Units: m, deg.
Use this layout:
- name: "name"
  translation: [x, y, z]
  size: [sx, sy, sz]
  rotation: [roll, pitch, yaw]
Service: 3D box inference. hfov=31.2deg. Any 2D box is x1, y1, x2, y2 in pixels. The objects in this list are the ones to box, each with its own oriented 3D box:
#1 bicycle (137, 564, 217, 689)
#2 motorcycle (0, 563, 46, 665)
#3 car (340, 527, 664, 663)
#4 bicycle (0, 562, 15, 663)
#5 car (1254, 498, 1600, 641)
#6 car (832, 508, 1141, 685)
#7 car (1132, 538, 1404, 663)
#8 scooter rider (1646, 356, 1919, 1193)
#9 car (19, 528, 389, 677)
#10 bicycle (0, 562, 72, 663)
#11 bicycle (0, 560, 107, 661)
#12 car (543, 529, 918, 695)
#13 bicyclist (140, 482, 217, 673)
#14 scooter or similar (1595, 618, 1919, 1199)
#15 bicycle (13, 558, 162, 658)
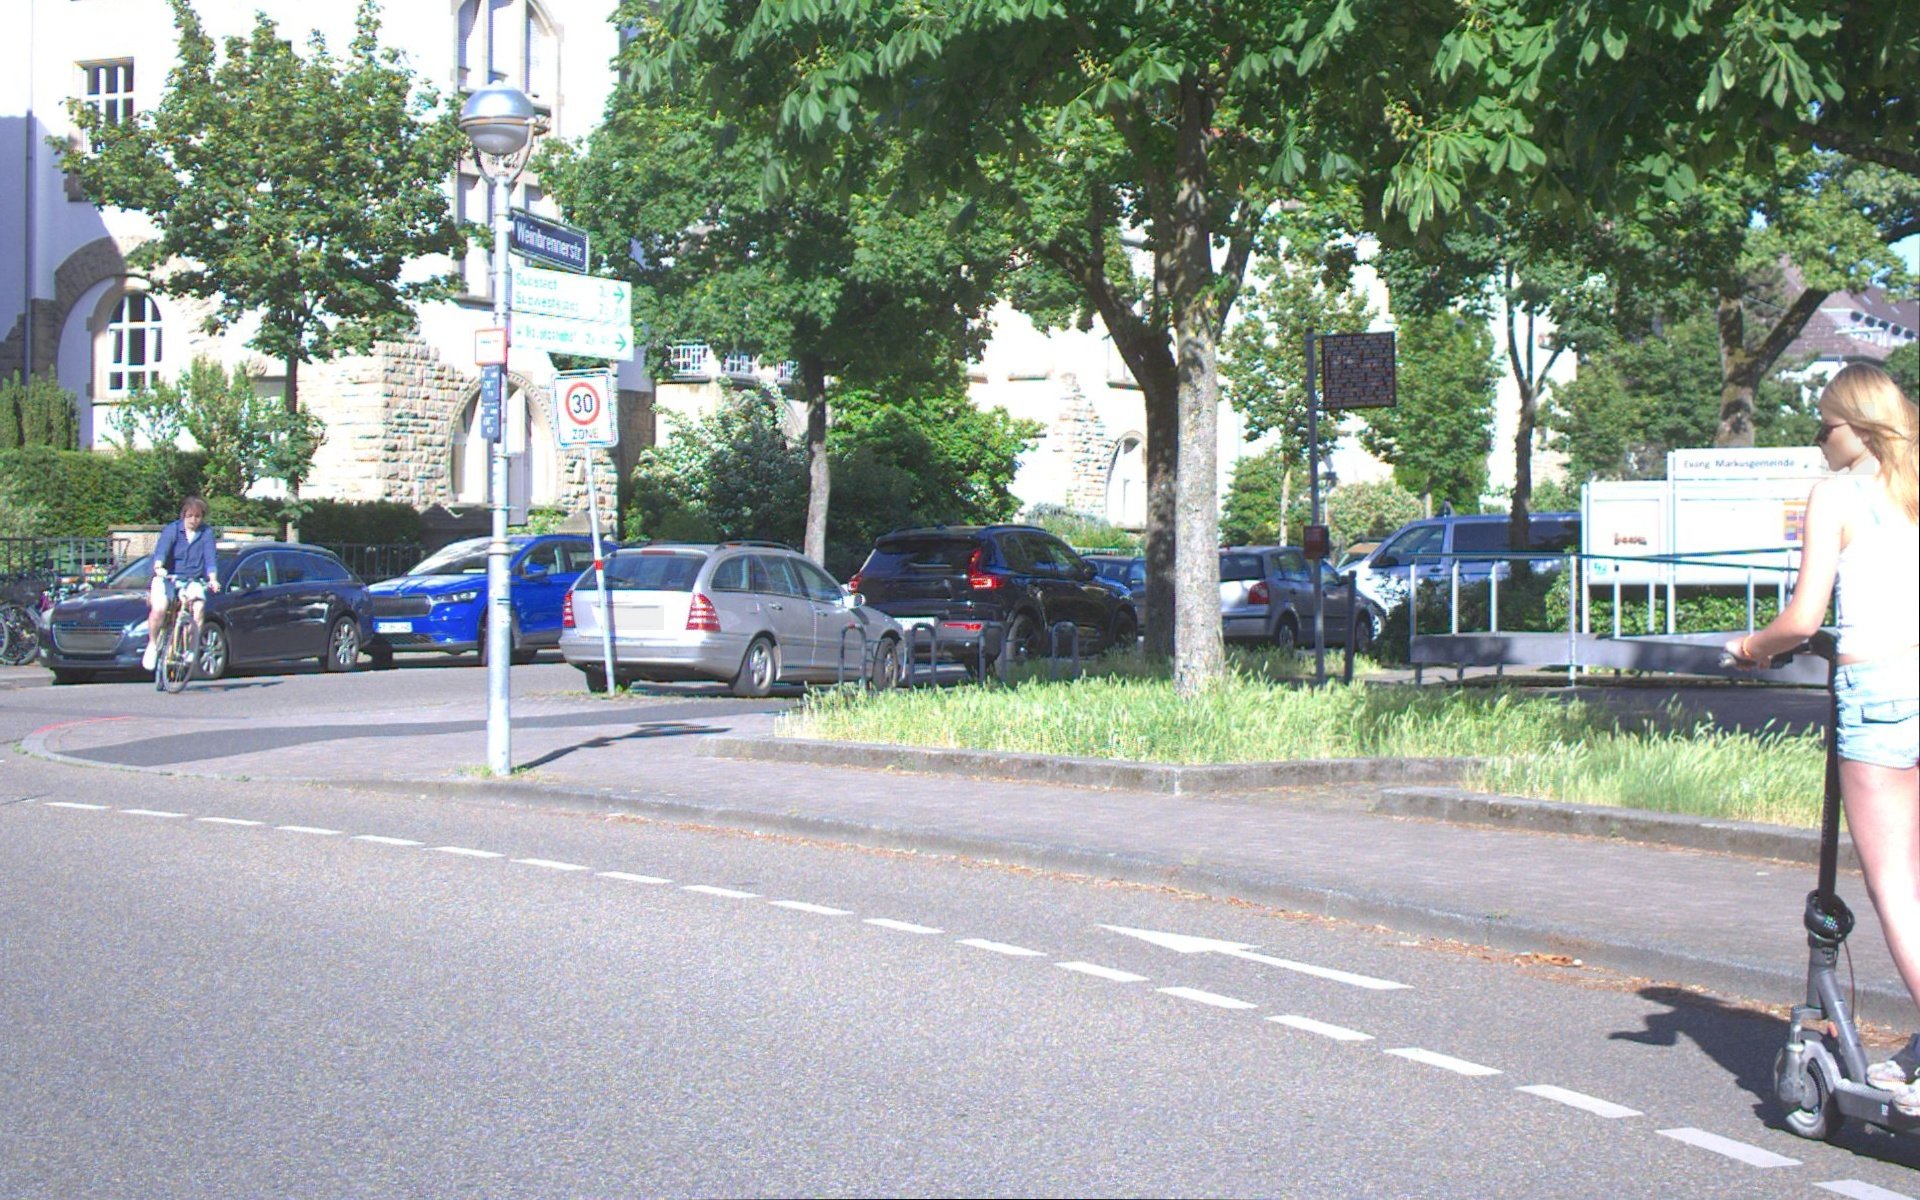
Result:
- name: "bicycle"
  translation: [-7.091, 0.236, 31.191]
  size: [0.643, 1.104, 1.717]
  rotation: [0, 0, -11]
- name: "motorcycle"
  translation: [-11.170, 0.128, 38.662]
  size: [1.723, 1.103, 0.500]
  rotation: [2, 2, 20]
- name: "car"
  translation: [-5.590, -0.088, 42.498]
  size: [1.806, 1.556, 4.393]
  rotation: [-2, 0, 26]
- name: "bicycle"
  translation: [-11.426, 0.106, 38.033]
  size: [1.825, 1.103, 0.501]
  rotation: [2, 2, 11]
- name: "car"
  translation: [6.945, -0.471, 51.135]
  size: [4.769, 1.994, 1.808]
  rotation: [1, 1, 22]
- name: "car"
  translation: [0.353, -0.065, 36.424]
  size: [1.806, 1.722, 4.334]
  rotation: [1, 1, 22]
- name: "car"
  translation: [3.979, -0.017, 43.747]
  size: [1.807, 1.469, 4.331]
  rotation: [2, 1, 29]
- name: "scooter rider"
  translation: [2.015, 0.376, 7.888]
  size: [0.623, 1.825, 0.632]
  rotation: [0, 1, -17]
- name: "car"
  translation: [-8.132, -0.001, 37.390]
  size: [1.806, 1.478, 4.334]
  rotation: [-2, 0, 21]
- name: "bicycle"
  translation: [-11.024, 0.119, 39.216]
  size: [1.723, 1.103, 0.500]
  rotation: [2, 2, 20]
- name: "bicycle"
  translation: [-10.745, 0.111, 39.779]
  size: [1.723, 1.103, 0.500]
  rotation: [3, 2, 23]
- name: "car"
  translation: [-2.060, 0.074, 32.229]
  size: [1.806, 1.411, 4.334]
  rotation: [1, 1, 22]
- name: "bicyclist"
  translation: [-7.070, -0.199, 31.113]
  size: [0.643, 1.709, 0.723]
  rotation: [0, 0, -11]
- name: "scooter or similar"
  translation: [2.008, 0.694, 7.893]
  size: [0.630, 1.278, 1.106]
  rotation: [0, 1, -17]
- name: "bicycle"
  translation: [-10.296, 0.087, 40.567]
  size: [1.723, 1.103, 0.515]
  rotation: [3, 2, 23]
